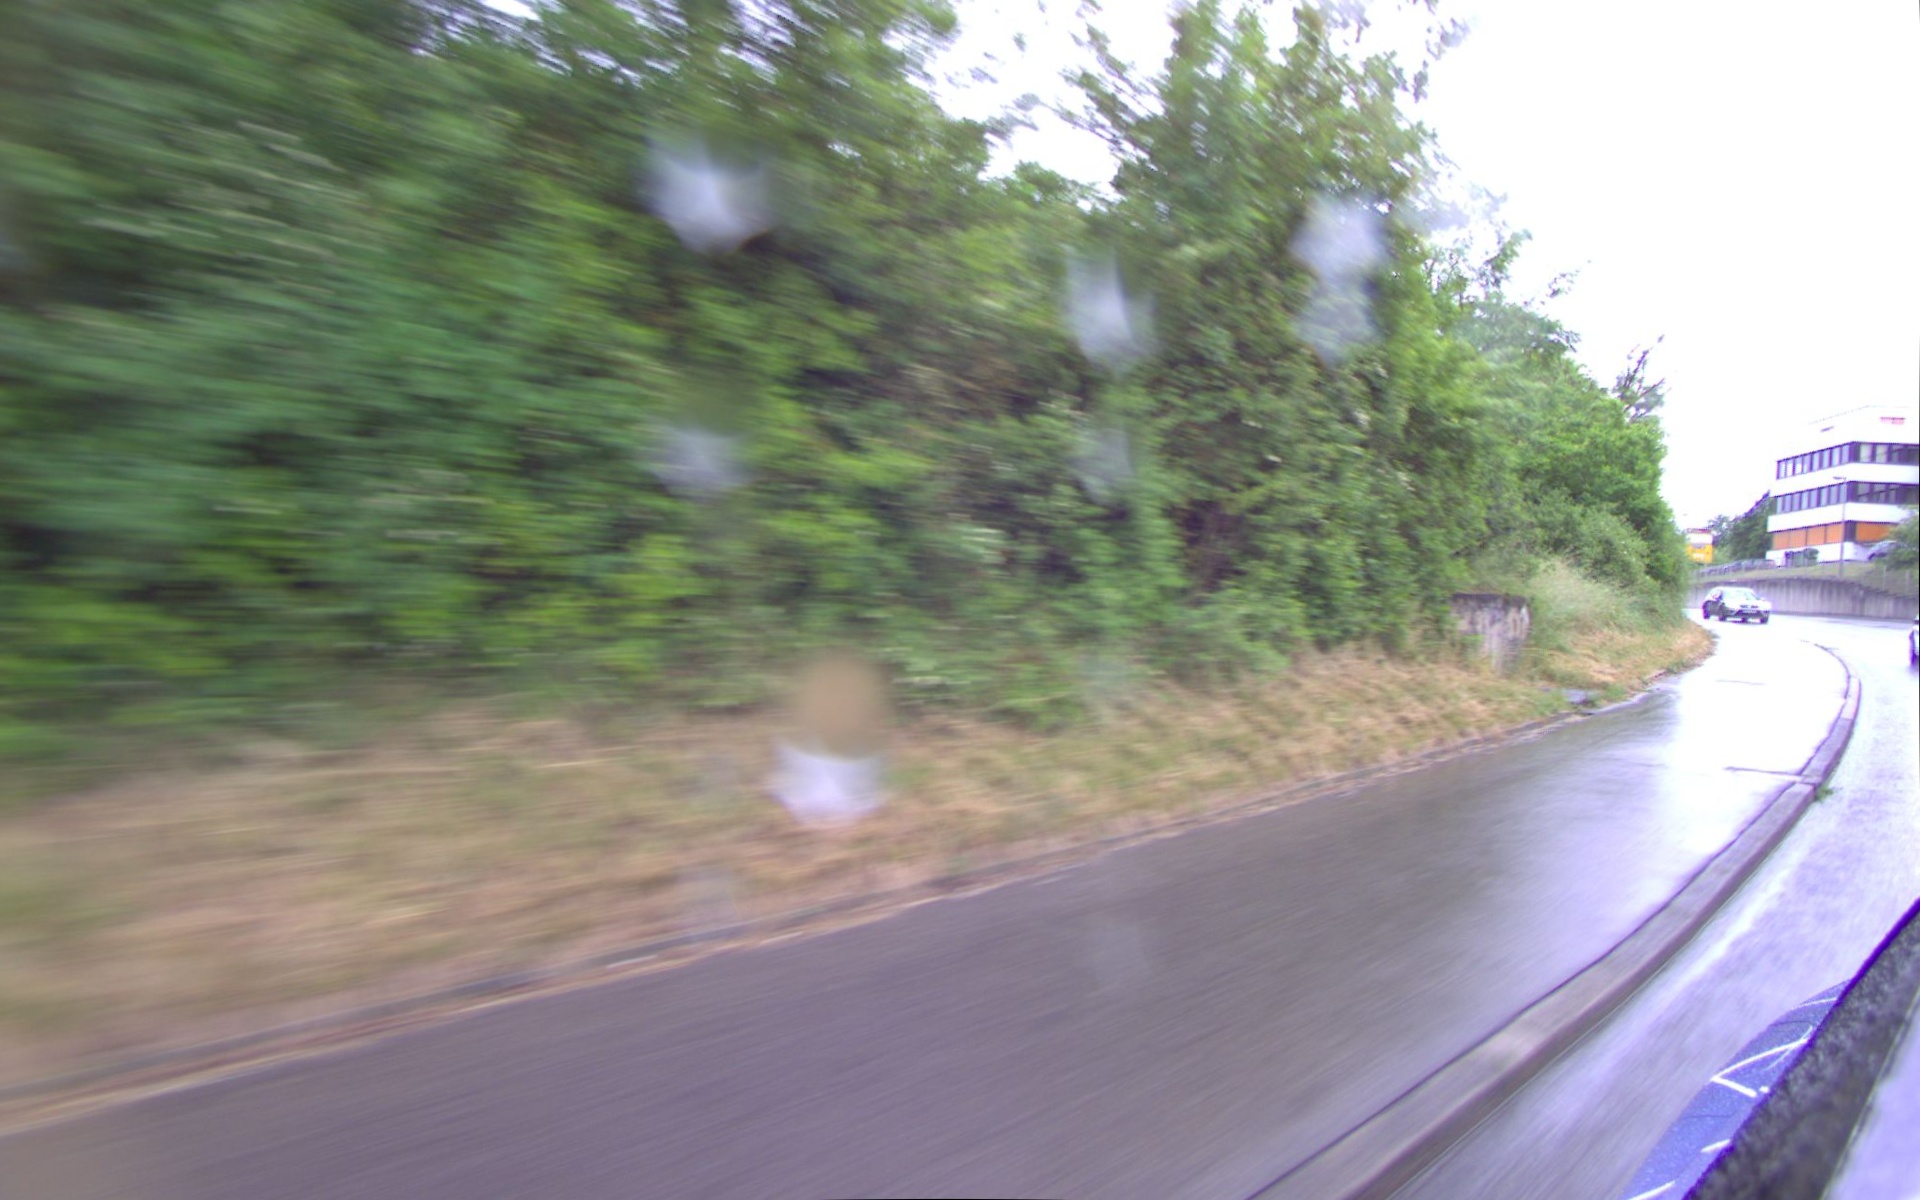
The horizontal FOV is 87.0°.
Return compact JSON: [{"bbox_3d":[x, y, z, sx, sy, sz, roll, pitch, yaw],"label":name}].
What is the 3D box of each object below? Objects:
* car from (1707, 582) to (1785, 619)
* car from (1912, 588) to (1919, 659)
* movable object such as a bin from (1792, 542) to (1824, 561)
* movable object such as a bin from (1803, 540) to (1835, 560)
[{"bbox_3d":[35.502,0.003,45.826,1.858,1.458,4.336,5,3,27],"label":"car"},{"bbox_3d":[20.203,0.508,19.840,1.865,1.459,4.317,-1,0,39],"label":"car"},{"bbox_3d":[59.298,-3.398,70.785,1.229,1.226,1.335,3,2,18],"label":"movable object such as a bin"},{"bbox_3d":[58.939,-3.429,69.444,1.229,1.363,1.210,3,2,19],"label":"movable object such as a bin"}]
